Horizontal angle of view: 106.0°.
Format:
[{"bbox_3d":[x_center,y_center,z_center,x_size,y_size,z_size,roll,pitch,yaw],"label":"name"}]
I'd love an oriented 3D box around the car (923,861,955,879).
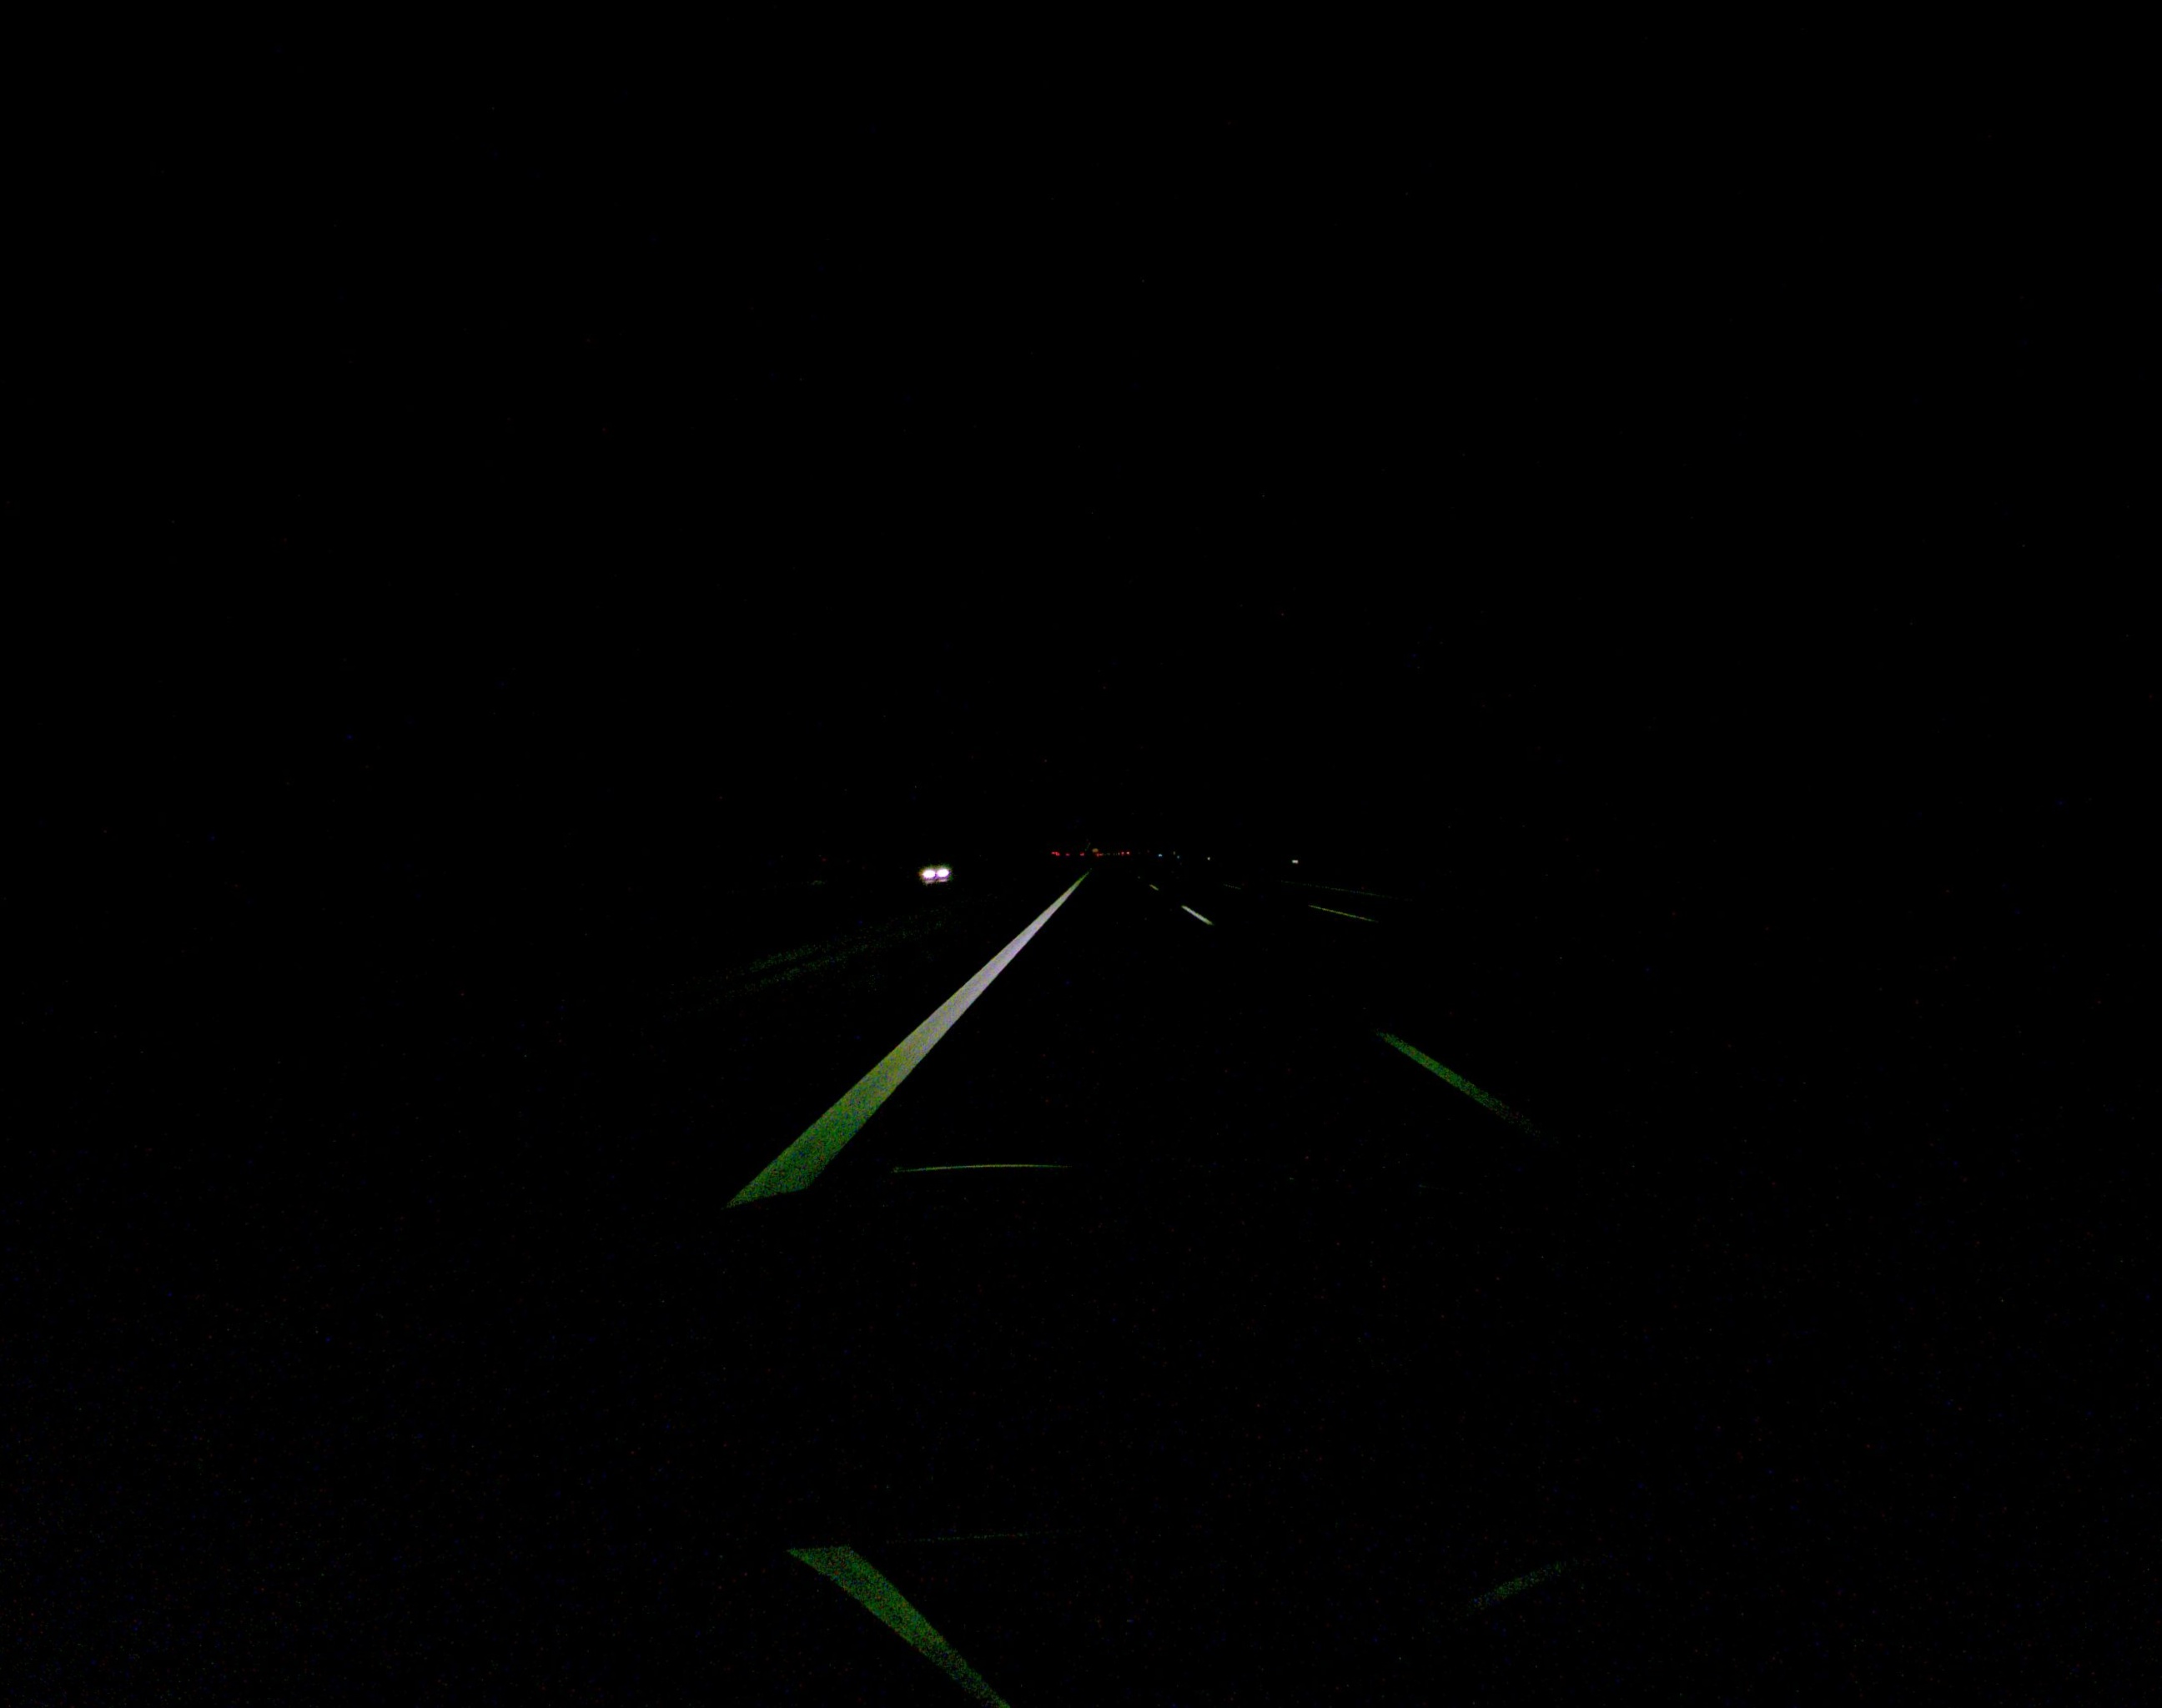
[{"bbox_3d":[-13.715,1.494,79.206,1.986,1.503,5.202,-4,0,1],"label":"car"}]
